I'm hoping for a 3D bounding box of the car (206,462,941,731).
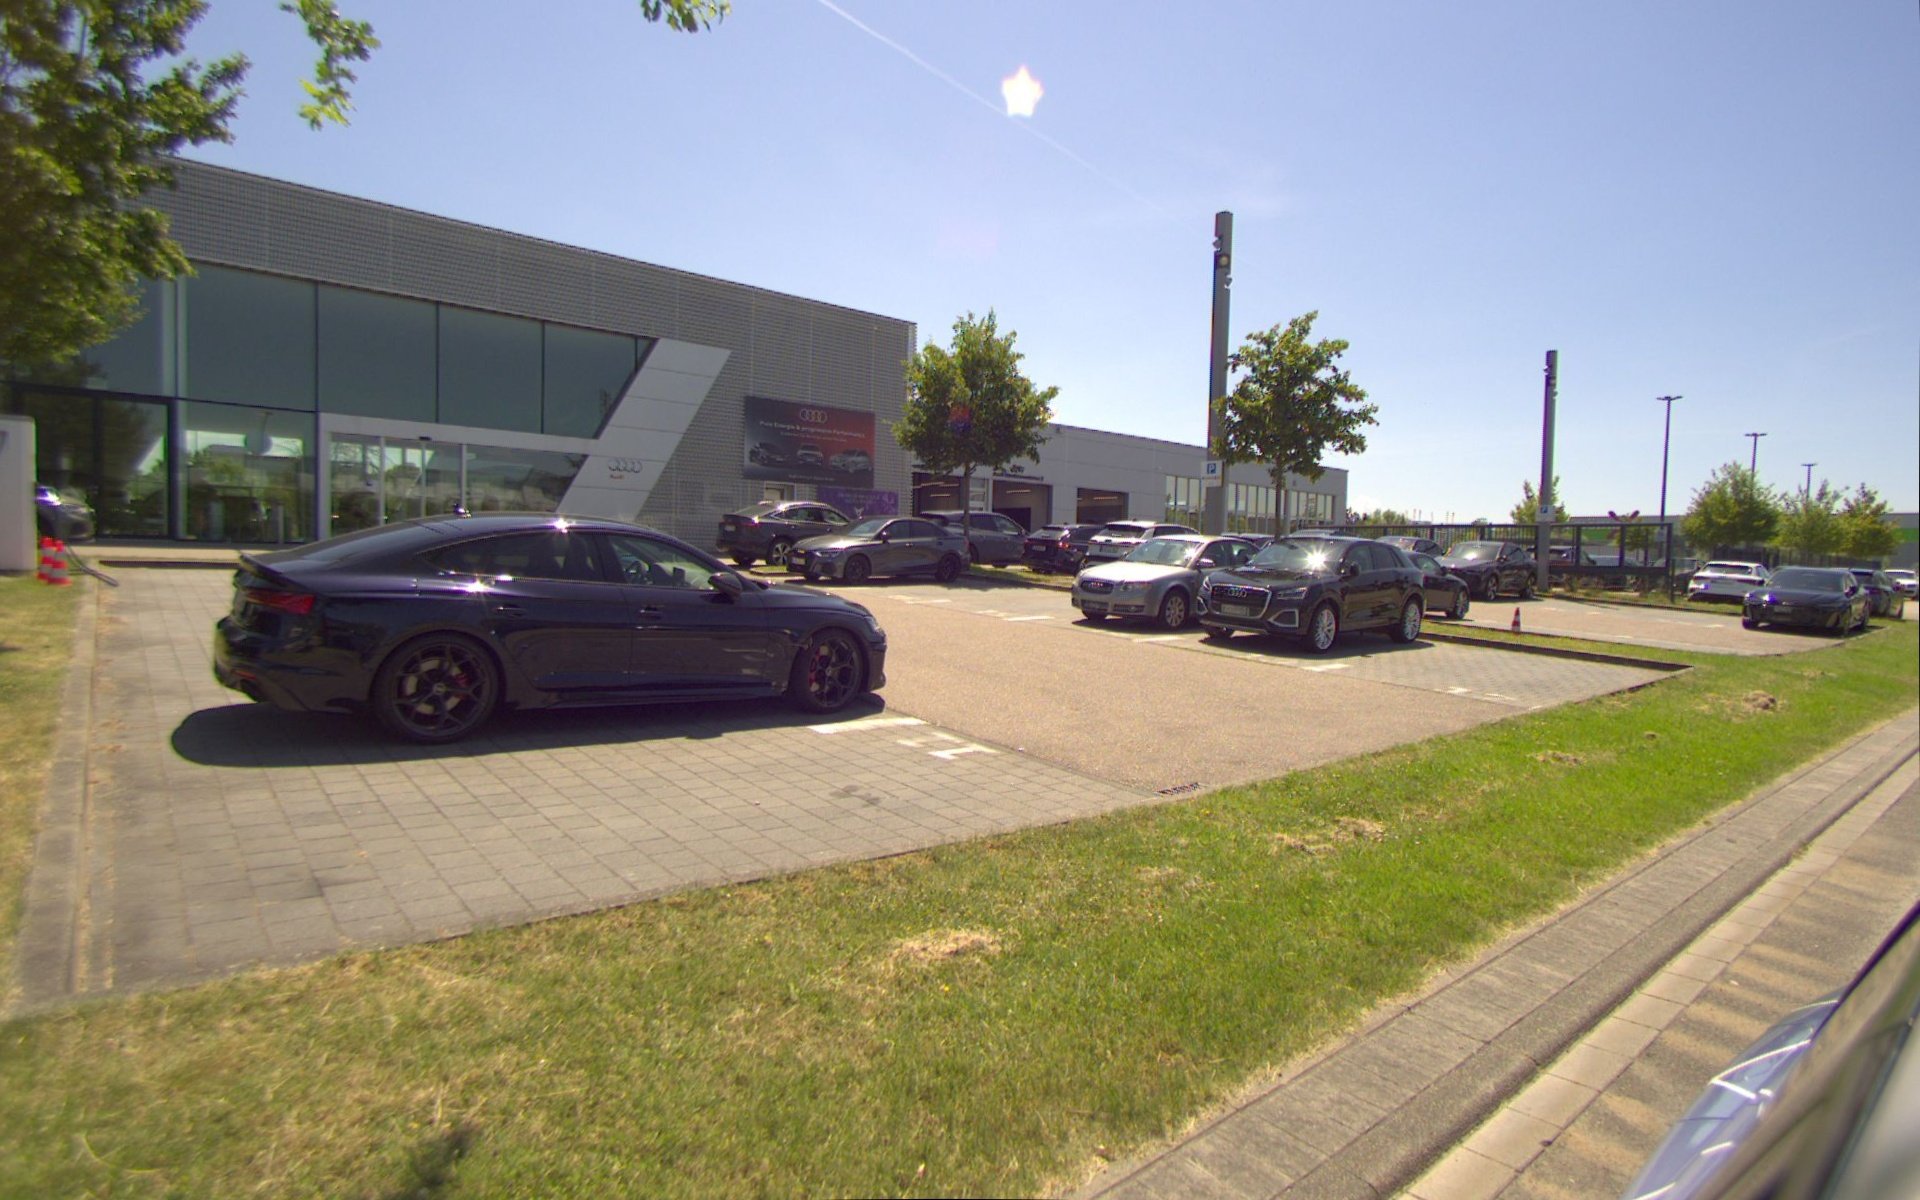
[{"bbox_3d":[-2.572,-0.096,7.446,4.638,1.382,1.966,1,5,-41],"label":"car"}]

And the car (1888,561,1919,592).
[{"bbox_3d":[53.259,-1.302,56.219,4.318,1.666,1.824,-1,5,-39],"label":"car"}]

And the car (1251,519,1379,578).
[{"bbox_3d":[11.887,-1.691,33.766,4.547,1.762,1.966,-1,7,-42],"label":"car"}]

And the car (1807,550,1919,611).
[{"bbox_3d":[25.345,-0.569,28.185,4.860,1.485,1.965,-1,5,-42],"label":"car"}]

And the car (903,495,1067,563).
[{"bbox_3d":[0.787,-2.031,29.282,4.648,1.759,1.965,-1,5,-42],"label":"car"}]

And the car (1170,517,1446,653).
[{"bbox_3d":[5.087,-0.266,14.537,4.155,1.589,1.892,-1,6,-42],"label":"car"}]

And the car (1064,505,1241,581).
[{"bbox_3d":[4.670,-1.348,24.218,4.215,1.632,1.965,-1,5,-42],"label":"car"}]

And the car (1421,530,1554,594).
[{"bbox_3d":[15.316,-1.090,29.270,4.704,1.663,1.828,-1,5,-42],"label":"car"}]

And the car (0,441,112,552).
[{"bbox_3d":[-15.772,-1.554,14.953,4.901,1.639,1.966,-3,6,-41],"label":"car"}]

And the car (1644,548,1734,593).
[{"bbox_3d":[29.750,-1.195,41.267,4.547,1.649,1.965,-1,5,-42],"label":"car"}]

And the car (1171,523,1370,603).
[{"bbox_3d":[7.051,-0.837,22.723,4.920,1.571,1.965,-1,5,-42],"label":"car"}]

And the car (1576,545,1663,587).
[{"bbox_3d":[28.414,-1.455,43.559,4.547,1.649,1.965,-1,5,-42],"label":"car"}]

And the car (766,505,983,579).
[{"bbox_3d":[-1.793,-1.240,22.080,4.390,1.382,1.966,-1,6,-42],"label":"car"}]

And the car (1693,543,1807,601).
[{"bbox_3d":[23.880,-0.844,30.522,4.860,1.546,1.823,-1,5,-42],"label":"car"}]

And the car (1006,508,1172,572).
[{"bbox_3d":[3.446,-1.550,26.559,4.298,1.494,1.965,-1,5,-42],"label":"car"}]

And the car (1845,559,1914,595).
[{"bbox_3d":[44.599,-1.127,49.051,4.327,1.585,1.780,-1,5,-39],"label":"car"}]

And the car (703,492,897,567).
[{"bbox_3d":[-3.936,-1.727,25.214,4.347,1.610,1.968,-1,6,-39],"label":"car"}]

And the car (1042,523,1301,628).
[{"bbox_3d":[3.503,-0.423,16.357,4.155,1.382,1.966,-1,6,-42],"label":"car"}]

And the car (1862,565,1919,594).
[{"bbox_3d":[48.732,-1.102,52.791,4.097,1.373,1.780,-1,5,-39],"label":"car"}]

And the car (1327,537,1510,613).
[{"bbox_3d":[9.802,-0.525,21.511,4.238,1.391,1.965,0,4,-42],"label":"car"}]

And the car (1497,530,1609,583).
[{"bbox_3d":[20.330,-1.477,34.614,4.547,1.649,1.965,-1,5,-42],"label":"car"}]

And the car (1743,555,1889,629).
[{"bbox_3d":[20.193,-0.231,23.800,4.938,1.472,1.883,-1,5,-42],"label":"car"}]
